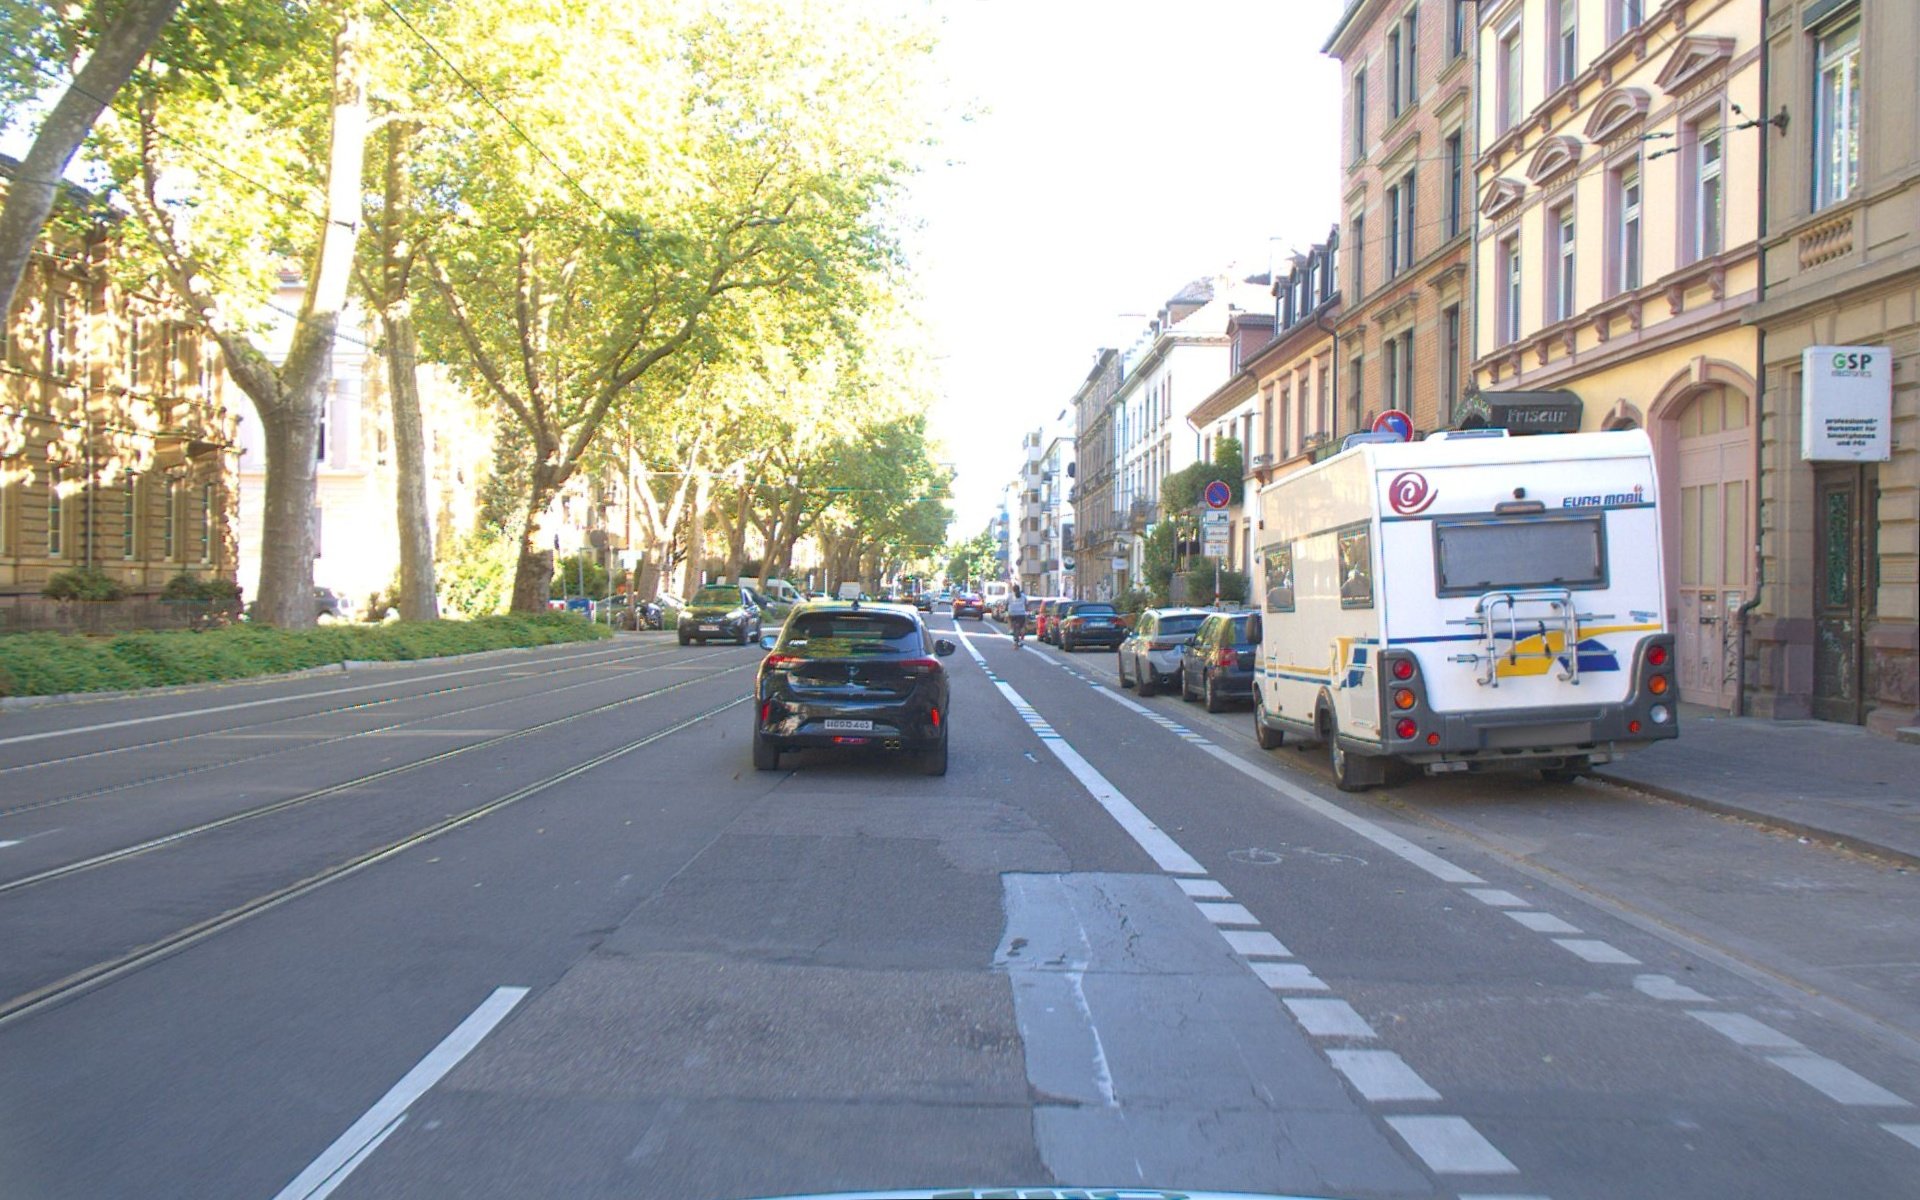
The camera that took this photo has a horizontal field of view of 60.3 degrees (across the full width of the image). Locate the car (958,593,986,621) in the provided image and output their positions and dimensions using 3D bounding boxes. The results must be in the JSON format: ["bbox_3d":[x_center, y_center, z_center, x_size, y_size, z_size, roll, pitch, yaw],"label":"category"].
[{"bbox_3d":[0.810,0.427,108.376,1.772,1.772,3.933,1,0,1],"label":"car"}]

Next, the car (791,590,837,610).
[{"bbox_3d":[-12.492,-0.017,141.523,3.842,1.524,1.676,3,0,-3],"label":"car"}]

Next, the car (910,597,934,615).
[{"bbox_3d":[-2.945,0.483,129.193,1.773,1.361,3.932,1,0,0],"label":"car"}]

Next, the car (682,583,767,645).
[{"bbox_3d":[-6.674,0.352,47.296,1.828,1.658,4.560,1,1,-1],"label":"car"}]

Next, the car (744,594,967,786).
[{"bbox_3d":[-0.855,0.718,15.086,1.757,1.466,3.531,2,1,-1],"label":"car"}]

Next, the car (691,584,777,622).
[{"bbox_3d":[-13.046,0.149,95.531,4.579,1.957,1.980,3,0,1],"label":"car"}]

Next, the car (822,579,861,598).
[{"bbox_3d":[-12.318,-1.186,171.979,3.842,1.821,1.676,3,0,-3],"label":"car"}]

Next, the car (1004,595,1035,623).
[{"bbox_3d":[3.449,0.510,95.952,1.536,1.544,3.039,-2,0,-3],"label":"car"}]

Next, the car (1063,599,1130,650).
[{"bbox_3d":[3.960,0.680,48.611,1.659,1.417,4.495,0,0,1],"label":"car"}]

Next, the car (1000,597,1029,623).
[{"bbox_3d":[3.339,0.589,101.004,1.669,1.481,3.698,-2,0,3],"label":"car"}]

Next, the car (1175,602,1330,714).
[{"bbox_3d":[4.273,0.799,24.673,1.611,1.459,4.029,-2,0,1],"label":"car"}]

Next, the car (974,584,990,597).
[{"bbox_3d":[2.528,-1.078,188.956,1.772,1.361,3.933,-2,0,1],"label":"car"}]

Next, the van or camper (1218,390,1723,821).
[{"bbox_3d":[4.309,0.039,15.922,2.426,3.024,7.884,-2,0,1],"label":"van or camper"}]

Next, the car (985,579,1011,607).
[{"bbox_3d":[3.188,-0.569,138.601,2.033,2.258,4.933,-2,0,1],"label":"car"}]

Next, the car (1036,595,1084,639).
[{"bbox_3d":[3.642,0.611,60.579,1.601,1.574,3.576,0,0,1],"label":"car"}]

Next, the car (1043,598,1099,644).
[{"bbox_3d":[3.715,0.682,55.909,1.617,1.482,3.868,0,0,0],"label":"car"}]

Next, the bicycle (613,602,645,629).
[{"bbox_3d":[-12.341,0.562,61.683,0.529,0.957,2.035,1,0,7],"label":"bicycle"}]

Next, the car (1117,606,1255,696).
[{"bbox_3d":[3.925,0.846,29.460,1.773,1.460,4.664,0,0,-1],"label":"car"}]

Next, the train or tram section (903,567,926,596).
[{"bbox_3d":[-6.144,-2.464,225.405,2.678,3.746,12.717,0,0,1],"label":"train or tram section"}]

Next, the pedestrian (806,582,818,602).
[{"bbox_3d":[-11.583,-0.622,129.314,0.757,1.594,0.675,2,0,-28],"label":"pedestrian"}]

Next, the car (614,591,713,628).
[{"bbox_3d":[-12.514,0.393,70.024,3.841,1.478,1.800,1,0,-1],"label":"car"}]

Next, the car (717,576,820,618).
[{"bbox_3d":[-12.740,-0.204,110.624,6.493,2.451,2.457,3,0,0],"label":"car"}]

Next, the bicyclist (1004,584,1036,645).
[{"bbox_3d":[1.762,0.418,48.754,0.831,1.770,1.161,1,0,-2],"label":"bicyclist"}]

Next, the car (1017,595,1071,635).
[{"bbox_3d":[3.615,0.626,71.895,1.843,1.613,3.930,-2,0,-4],"label":"car"}]

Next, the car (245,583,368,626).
[{"bbox_3d":[-23.331,0.145,59.109,3.699,1.443,1.695,0,3,0],"label":"car"}]

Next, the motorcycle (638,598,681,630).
[{"bbox_3d":[-11.184,0.510,61.628,0.865,1.167,2.392,2,0,7],"label":"motorcycle"}]

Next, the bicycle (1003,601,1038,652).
[{"bbox_3d":[1.763,0.764,48.702,0.843,1.431,2.523,1,0,-1],"label":"bicycle"}]
